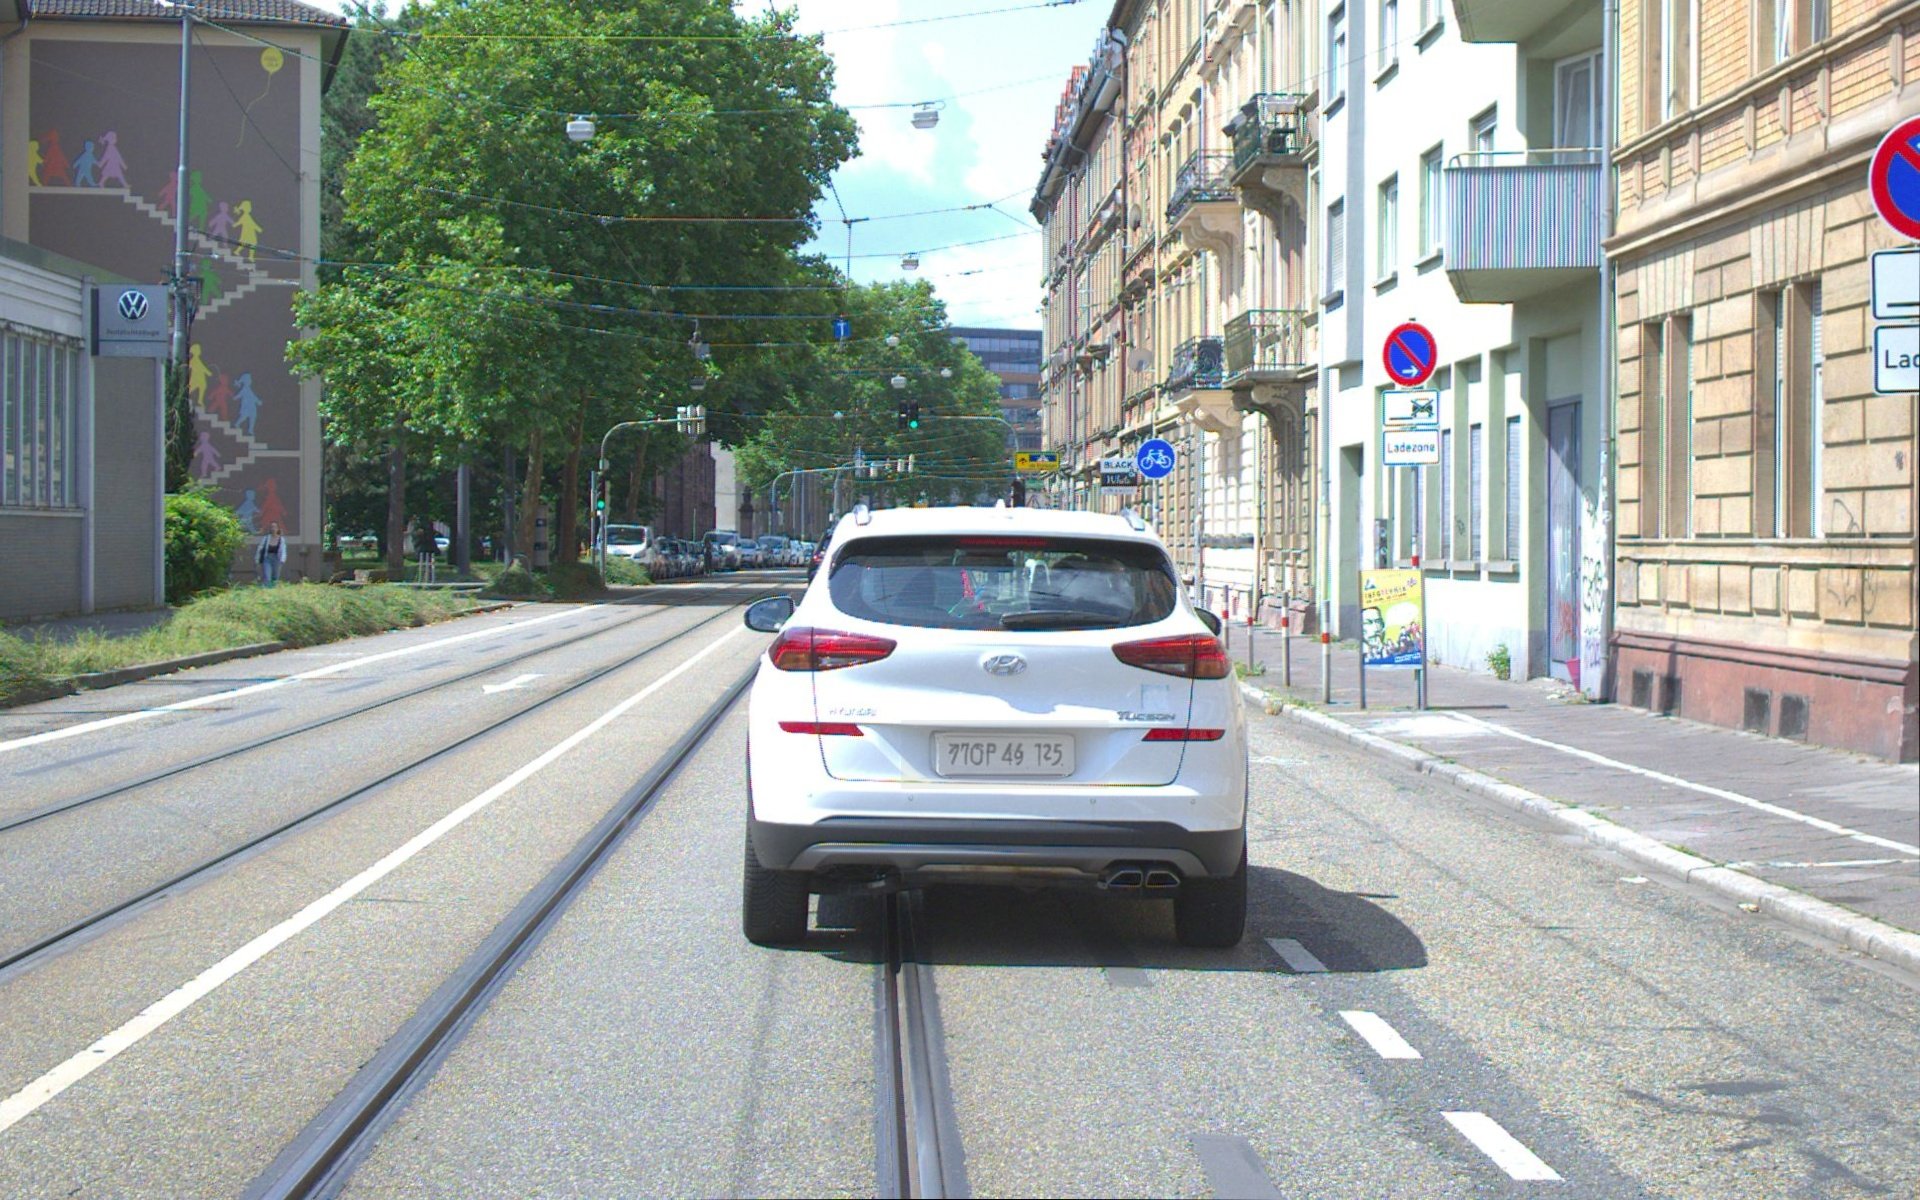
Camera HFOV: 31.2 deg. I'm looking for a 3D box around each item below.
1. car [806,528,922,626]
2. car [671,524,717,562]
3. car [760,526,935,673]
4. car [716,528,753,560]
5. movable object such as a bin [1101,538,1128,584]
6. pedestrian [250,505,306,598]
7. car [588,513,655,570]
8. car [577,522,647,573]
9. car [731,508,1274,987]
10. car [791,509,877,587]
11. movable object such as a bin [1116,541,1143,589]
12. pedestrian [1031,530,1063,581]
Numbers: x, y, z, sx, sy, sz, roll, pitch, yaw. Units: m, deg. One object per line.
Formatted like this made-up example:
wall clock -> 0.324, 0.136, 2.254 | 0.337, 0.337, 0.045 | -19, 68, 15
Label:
car -> -1.541, -0.408, 55.733 | 1.814, 1.519, 3.956 | 0, 1, -1
car -> -11.758, -2.518, 152.219 | 1.950, 1.626, 4.001 | 1, 1, -4
car -> -1.183, -0.048, 37.908 | 1.814, 1.519, 4.085 | 0, 1, 0
car -> -12.035, -3.002, 183.472 | 1.950, 1.626, 4.001 | 1, 1, -4
movable object such as a bin -> 3.825, -0.968, 85.082 | 0.612, 1.139, 0.638 | 1, 1, -1
pedestrian -> -13.806, -0.987, 69.621 | 0.880, 1.859, 1.081 | -1, 1, -1
car -> -11.725, -2.037, 119.278 | 1.950, 1.888, 4.566 | 1, 1, -2
car -> -11.457, -1.741, 113.330 | 1.950, 1.626, 4.576 | 1, 1, -2
car -> 0.016, 0.476, 14.028 | 1.852, 1.628, 4.181 | 1, 1, -4
car -> -2.742, -1.148, 75.451 | 1.814, 1.656, 4.085 | 0, 1, -1
movable object such as a bin -> 4.122, -0.848, 83.658 | 0.612, 1.139, 0.638 | 1, 1, -1
pedestrian -> 2.714, -1.408, 107.804 | 0.938, 1.567, 1.050 | 1, 1, -1
